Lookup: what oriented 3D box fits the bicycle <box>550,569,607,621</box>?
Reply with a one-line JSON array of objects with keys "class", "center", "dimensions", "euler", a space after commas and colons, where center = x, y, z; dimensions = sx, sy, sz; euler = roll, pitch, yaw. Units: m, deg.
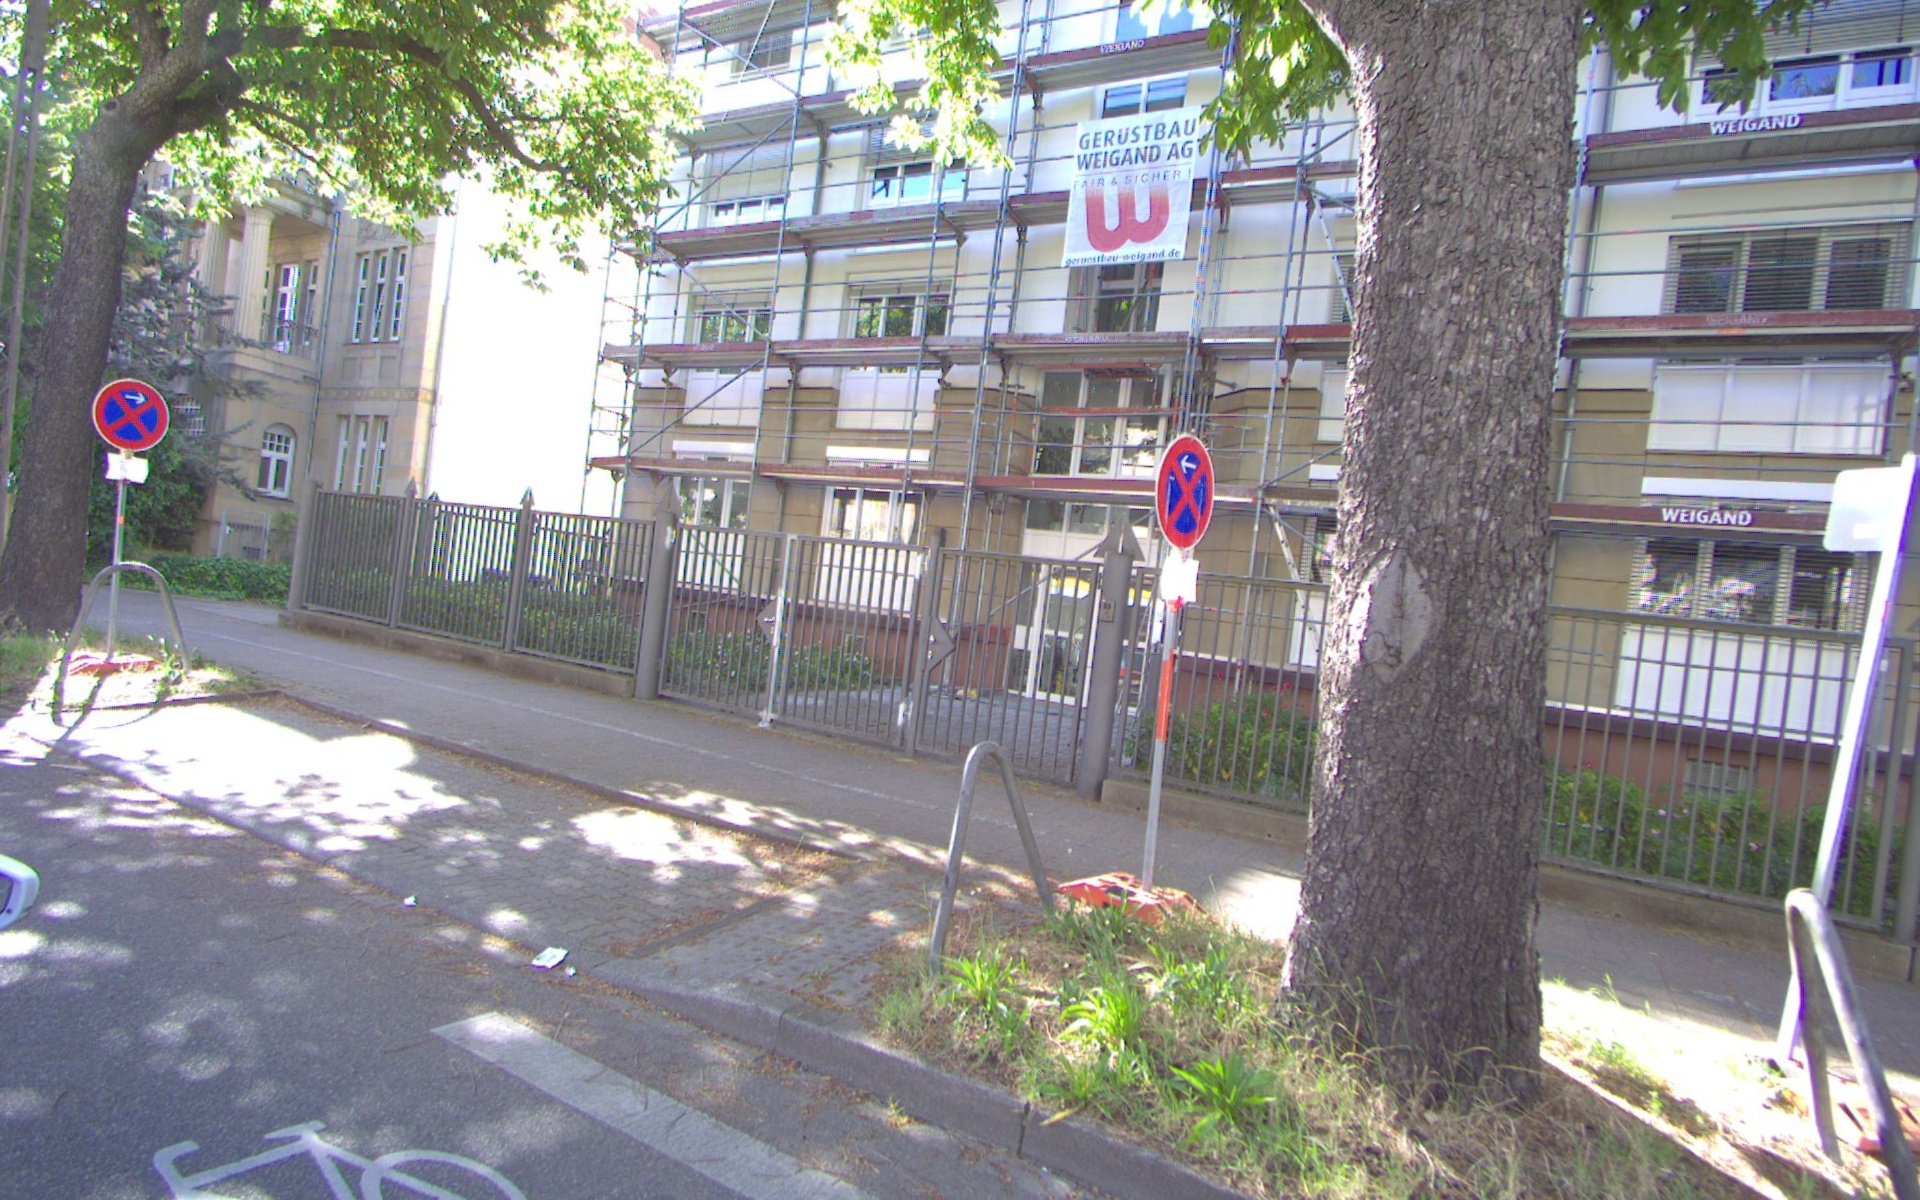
[{"class": "bicycle", "center": [-10.257, -0.114, 27.097], "dimensions": [0.428, 1.213, 1.701], "euler": [7, -2, 14]}]
